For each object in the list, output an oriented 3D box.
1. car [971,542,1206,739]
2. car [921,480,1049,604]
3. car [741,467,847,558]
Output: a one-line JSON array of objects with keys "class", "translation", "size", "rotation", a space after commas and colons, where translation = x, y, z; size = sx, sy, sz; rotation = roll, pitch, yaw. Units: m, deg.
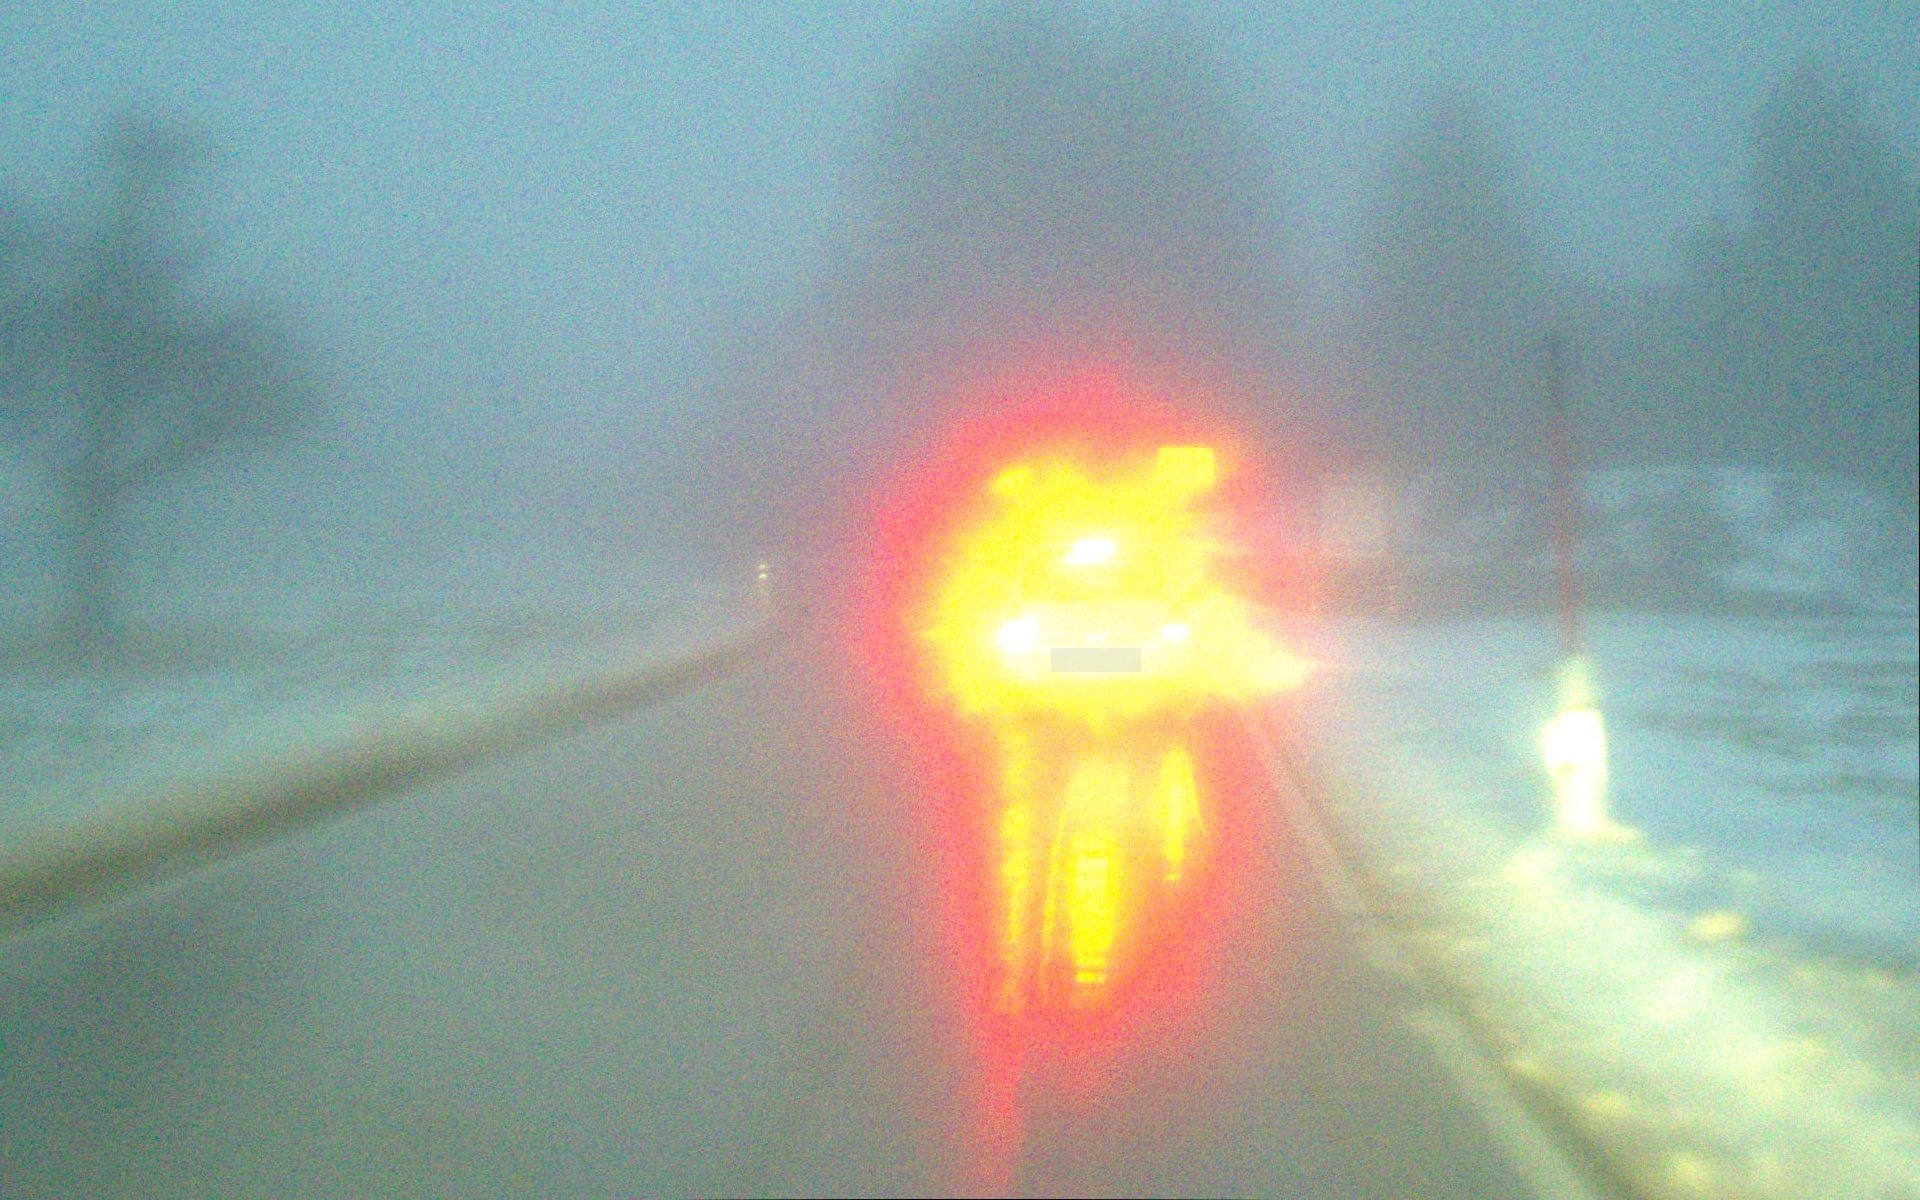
[{"class": "car", "translation": [1.016, 0.321, 28.891], "size": [1.707, 1.458, 4.000], "rotation": [3, 0, -1]}, {"class": "car", "translation": [0.346, -0.748, 43.813], "size": [1.479, 1.503, 3.053], "rotation": [-1, 1, 3]}, {"class": "car", "translation": [-2.845, -1.488, 59.366], "size": [1.522, 1.503, 3.053], "rotation": [-1, 1, 3]}]
